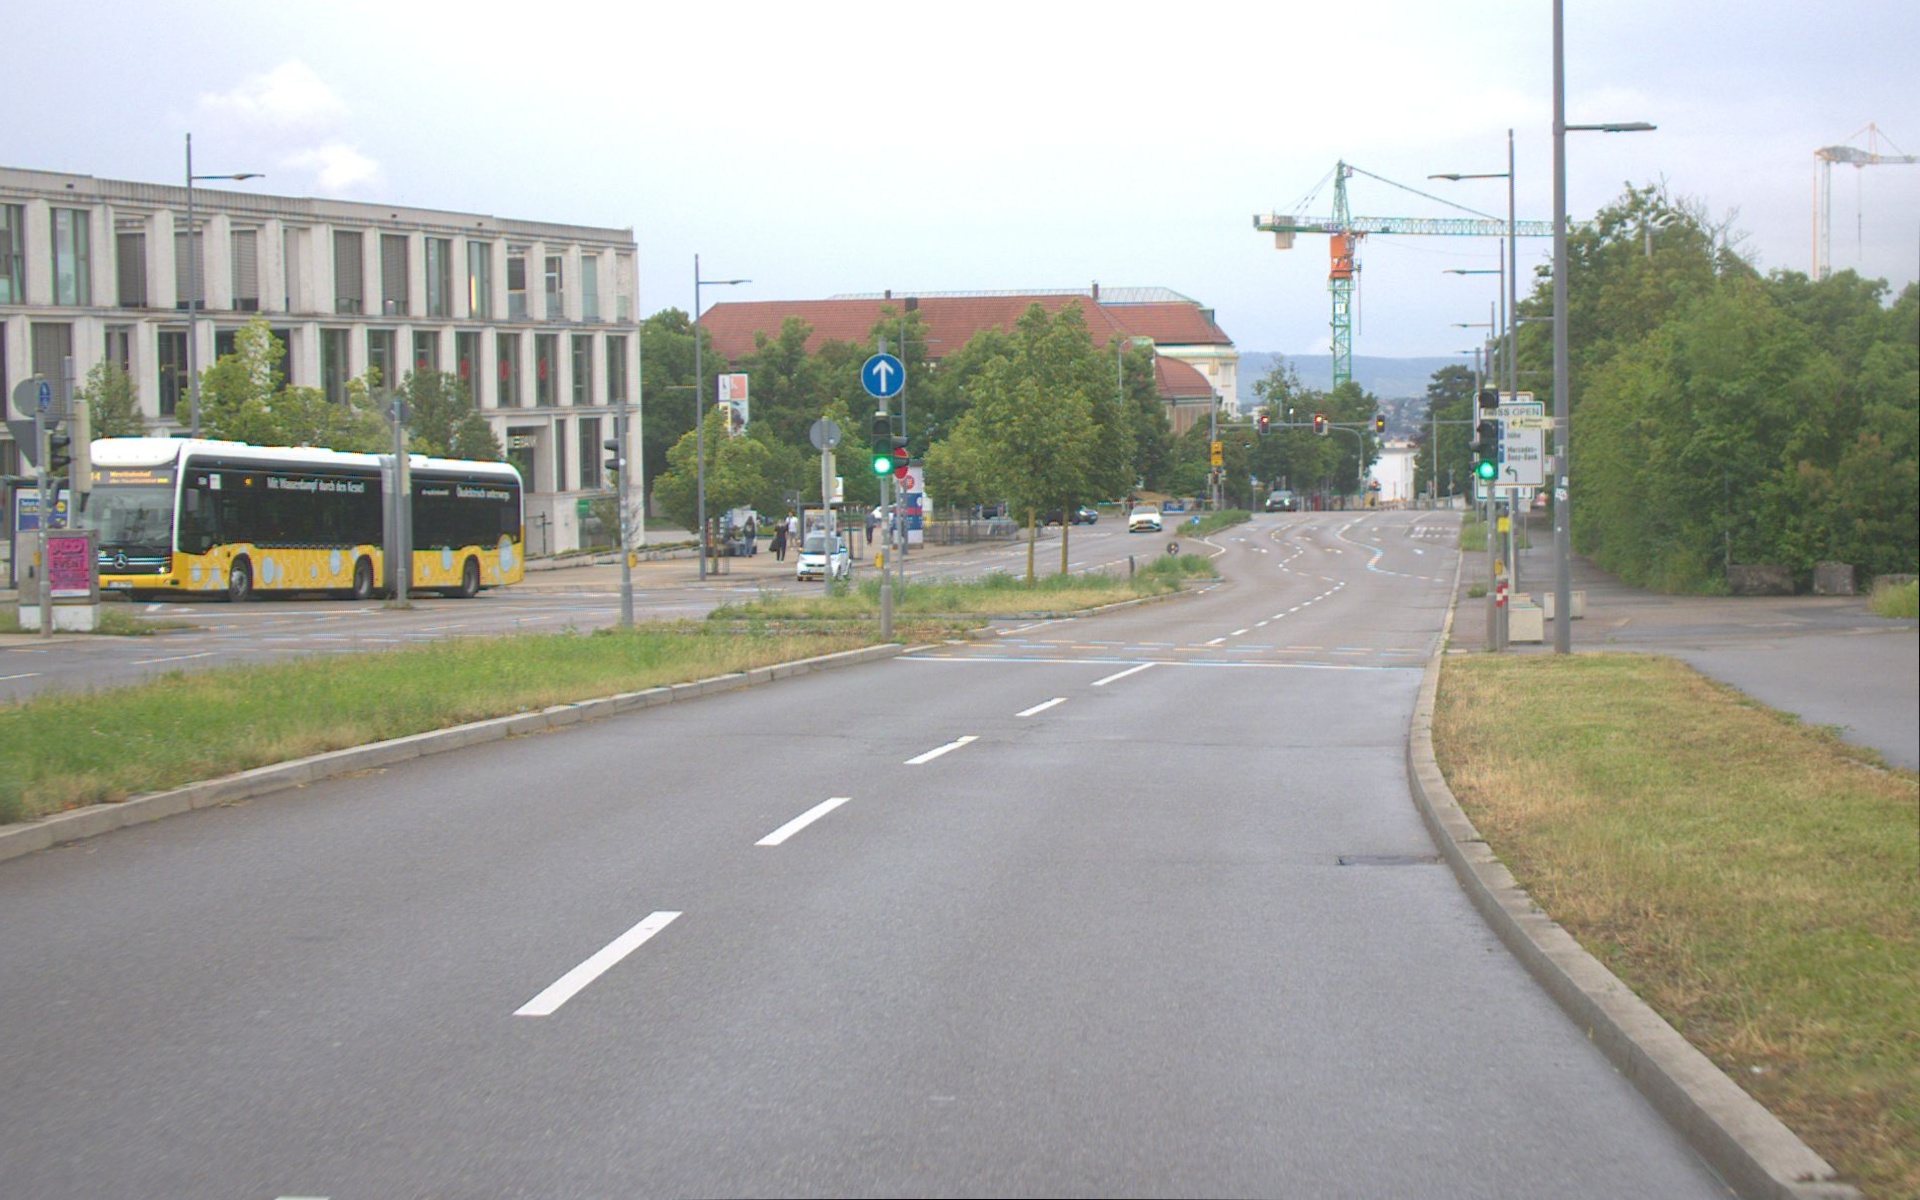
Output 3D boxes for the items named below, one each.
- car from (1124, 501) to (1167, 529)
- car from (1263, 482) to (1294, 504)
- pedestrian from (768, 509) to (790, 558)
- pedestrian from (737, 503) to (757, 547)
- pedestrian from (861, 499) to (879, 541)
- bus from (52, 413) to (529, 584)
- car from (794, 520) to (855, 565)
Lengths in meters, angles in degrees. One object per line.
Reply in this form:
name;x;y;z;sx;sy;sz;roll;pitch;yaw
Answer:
car;10.535;-4.815;195.000;1.770;1.489;4.065;0;0;12
car;23.528;-7.866;253.751;1.770;1.489;4.065;0;0;13
pedestrian;-7.189;-2.634;136.576;0.748;1.940;0.838;0;0;-9
pedestrian;-9.043;-3.182;145.813;0.748;1.846;0.838;0;0;-9
pedestrian;-4.317;-3.835;165.538;0.748;2.007;0.838;0;0;-9
bus;-14.638;-2.087;78.200;2.787;3.345;18.213;0;0;16
car;-4.727;-1.993;119.755;1.479;1.489;2.529;0;0;14
